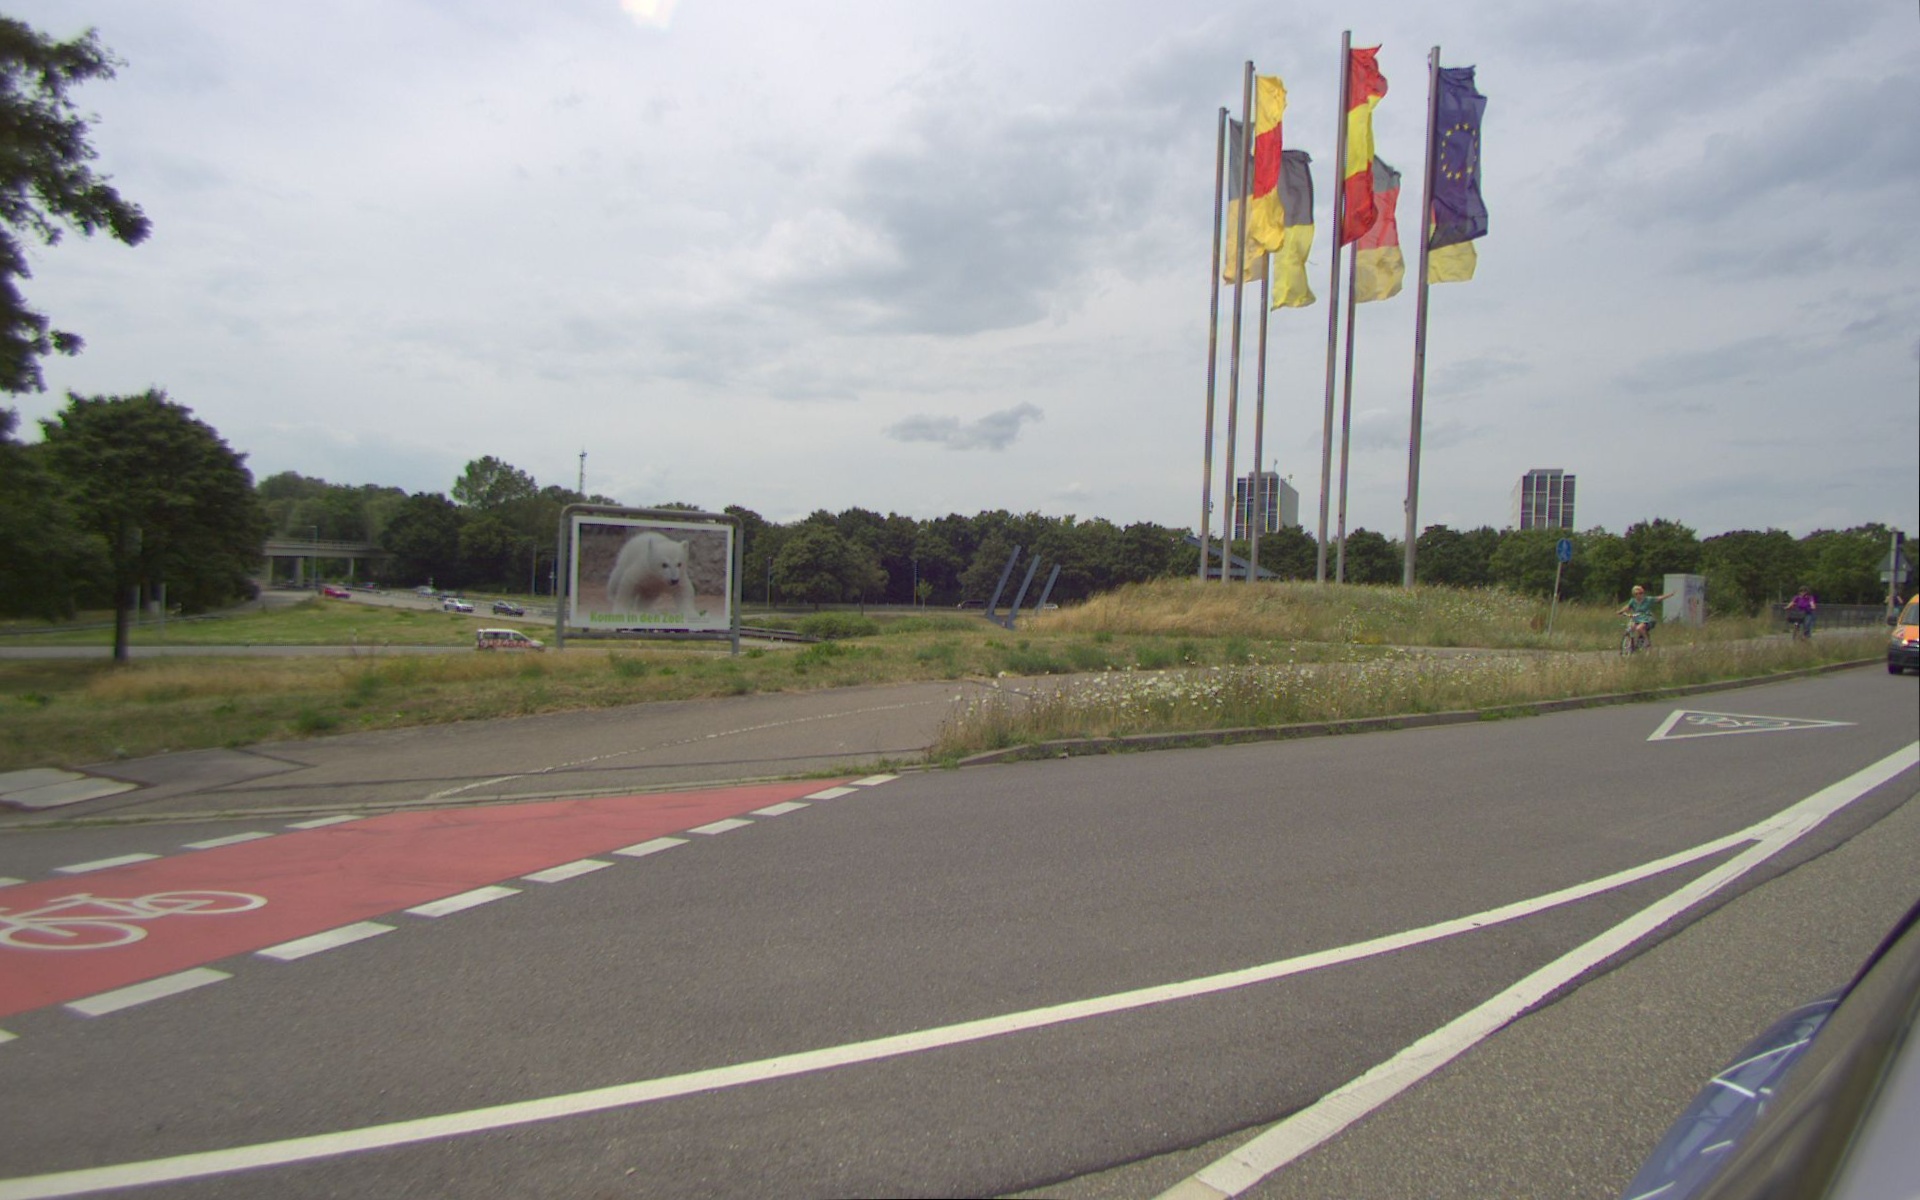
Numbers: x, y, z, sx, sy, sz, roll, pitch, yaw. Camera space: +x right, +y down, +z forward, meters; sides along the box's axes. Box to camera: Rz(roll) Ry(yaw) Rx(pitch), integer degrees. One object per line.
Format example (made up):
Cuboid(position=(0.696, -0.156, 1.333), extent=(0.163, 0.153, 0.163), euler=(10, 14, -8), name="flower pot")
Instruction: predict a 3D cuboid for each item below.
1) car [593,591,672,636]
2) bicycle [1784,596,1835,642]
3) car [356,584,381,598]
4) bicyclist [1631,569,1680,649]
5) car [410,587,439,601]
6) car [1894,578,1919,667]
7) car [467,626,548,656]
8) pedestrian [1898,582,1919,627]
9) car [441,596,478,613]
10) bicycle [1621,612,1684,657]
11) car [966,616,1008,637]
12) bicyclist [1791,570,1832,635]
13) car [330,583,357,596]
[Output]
Cuboid(position=(-31.388, 1.261, 96.836), extent=(7.461, 3.946, 3.303), euler=(2, 0, 34), name="car")
Cuboid(position=(23.957, 0.534, 28.520), extent=(2.418, 1.207, 0.695), euler=(1, 1, -41), name="bicycle")
Cuboid(position=(-88.368, -1.362, 151.226), extent=(3.976, 2.039, 1.853), euler=(2, 0, 36), name="car")
Cuboid(position=(15.178, 0.198, 22.082), extent=(0.657, 1.686, 0.623), euler=(2, 3, -41), name="bicyclist")
Cuboid(position=(-78.697, -0.895, 148.795), extent=(3.964, 2.039, 1.980), euler=(0, -1, 29), name="car")
Cuboid(position=(21.957, 0.511, 22.040), extent=(4.352, 1.859, 1.891), euler=(2, 0, -41), name="car")
Cuboid(position=(-32.795, 2.974, 73.404), extent=(5.146, 2.039, 2.002), euler=(2, 0, -32), name="car")
Cuboid(position=(43.808, 0.199, 46.666), extent=(0.656, 2.038, 0.629), euler=(2, 2, -39), name="pedestrian")
Cuboid(position=(-58.004, 0.523, 117.248), extent=(3.964, 2.039, 1.980), euler=(0, -1, 29), name="car")
Cuboid(position=(15.071, 0.734, 21.997), extent=(2.117, 0.899, 0.624), euler=(0, 1, -42), name="bicycle")
Cuboid(position=(2.791, 2.724, 104.492), extent=(3.982, 2.039, 1.851), euler=(2, 0, 40), name="car")
Cuboid(position=(24.024, 0.070, 28.559), extent=(0.974, 1.777, 0.704), euler=(1, 1, -41), name="bicyclist")
Cuboid(position=(-99.189, -1.637, 162.814), extent=(3.962, 2.039, 1.981), euler=(0, -1, 28), name="car")
